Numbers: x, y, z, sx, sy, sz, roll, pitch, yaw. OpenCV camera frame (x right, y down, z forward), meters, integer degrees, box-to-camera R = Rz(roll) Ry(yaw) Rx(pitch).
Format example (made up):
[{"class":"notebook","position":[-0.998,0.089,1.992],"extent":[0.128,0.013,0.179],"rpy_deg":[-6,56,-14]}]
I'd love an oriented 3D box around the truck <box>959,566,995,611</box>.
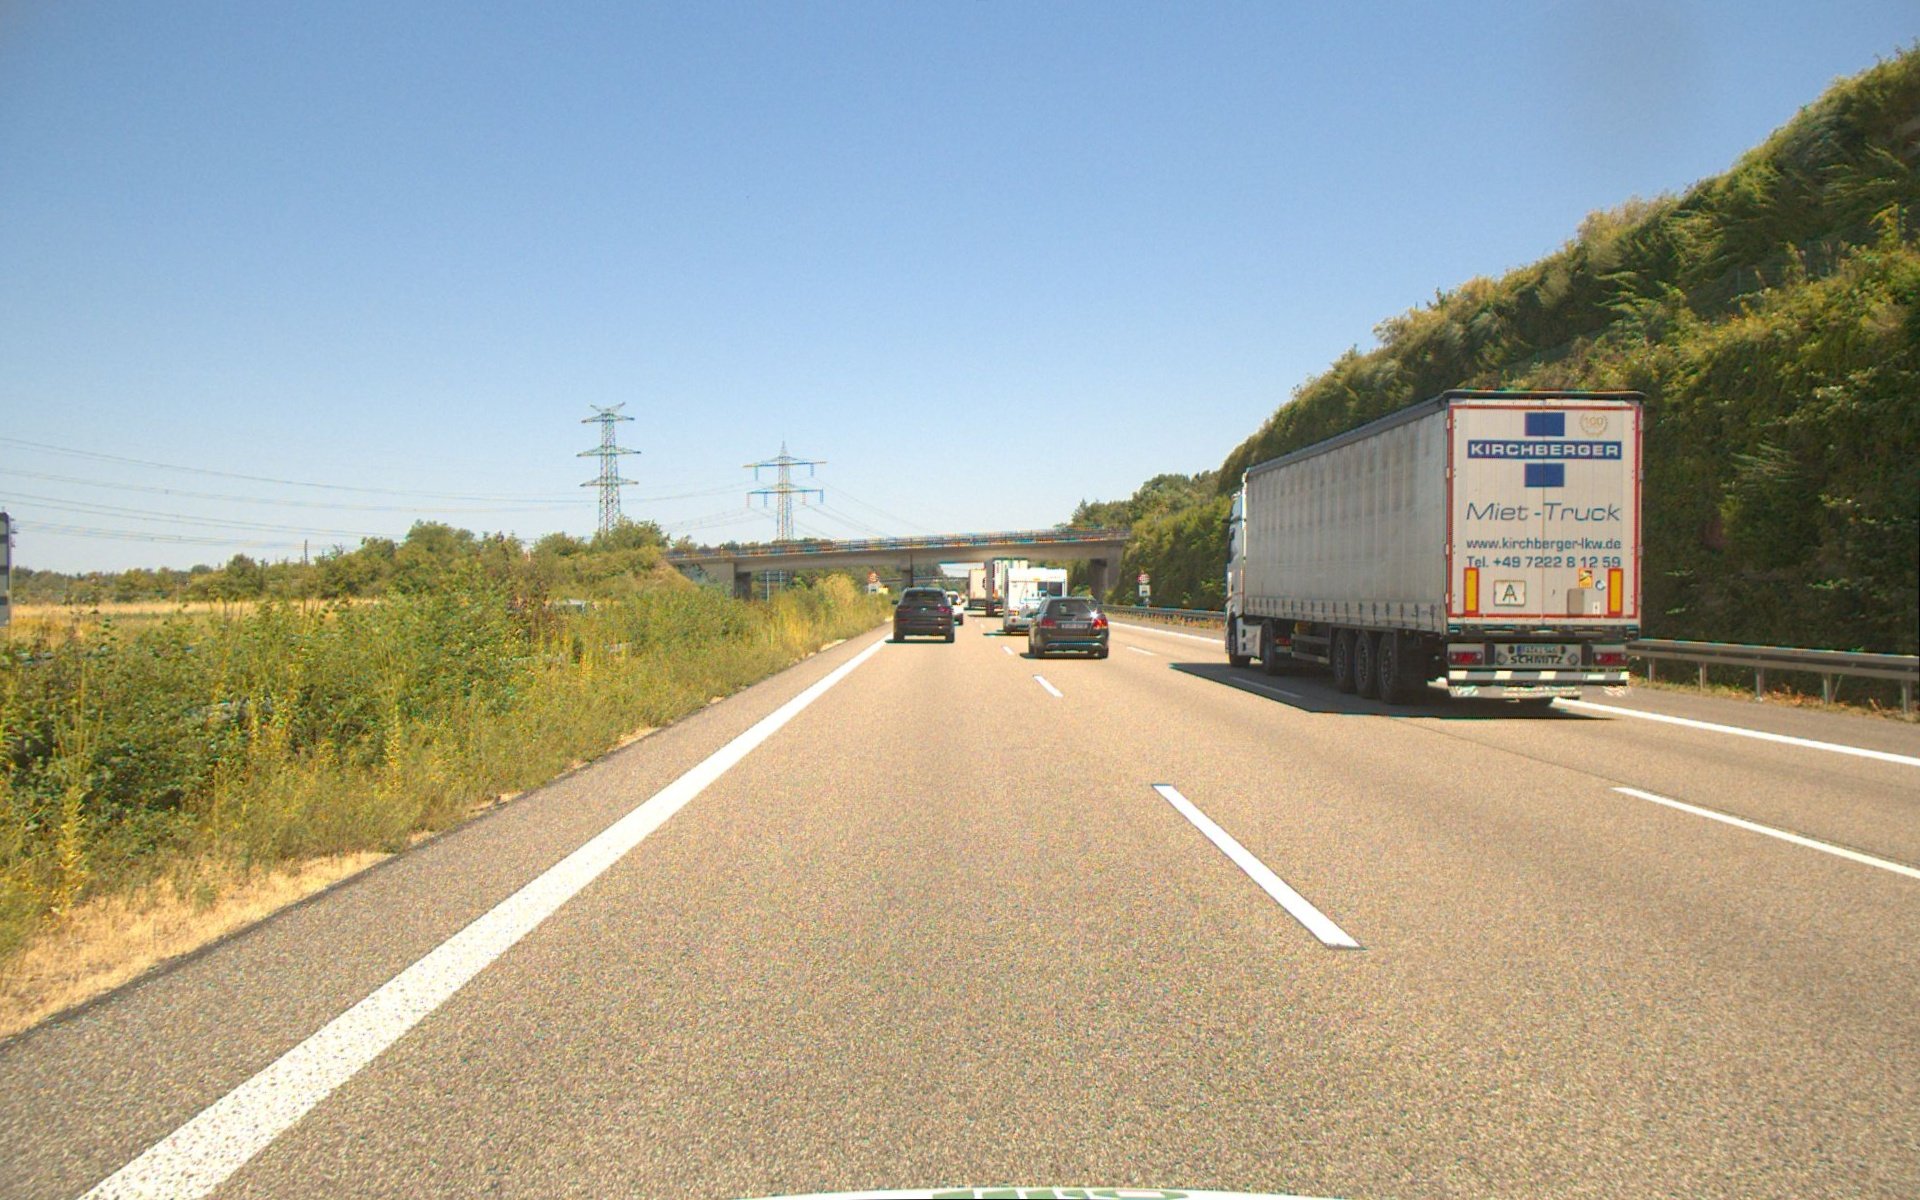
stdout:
[{"class":"truck","position":[1.670,-1.169,168.901],"extent":[3.340,4.355,10.605],"rpy_deg":[-1,0,-1]}]

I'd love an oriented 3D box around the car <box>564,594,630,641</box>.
[{"class":"car","position":[-13.778,0.642,62.934],"extent":[1.579,1.680,3.922],"rpy_deg":[-1,0,1]}]

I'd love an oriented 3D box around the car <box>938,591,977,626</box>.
[{"class":"car","position":[-0.169,0.401,84.516],"extent":[1.793,1.700,3.998],"rpy_deg":[-1,0,-3]}]

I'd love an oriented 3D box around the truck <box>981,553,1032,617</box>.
[{"class":"truck","position":[3.257,-1.068,119.252],"extent":[3.056,4.355,11.931],"rpy_deg":[-1,0,-1]}]

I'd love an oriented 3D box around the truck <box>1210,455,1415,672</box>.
[{"class":"truck","position":[7.365,-0.738,35.300],"extent":[3.072,4.214,5.502],"rpy_deg":[-1,0,-1]}]

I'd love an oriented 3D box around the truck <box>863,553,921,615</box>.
[{"class":"truck","position":[-4.756,-1.137,117.654],"extent":[3.881,4.185,9.949],"rpy_deg":[-1,0,-2]}]

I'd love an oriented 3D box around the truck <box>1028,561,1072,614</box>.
[{"class":"truck","position":[7.701,-1.049,143.398],"extent":[3.056,4.355,10.165],"rpy_deg":[-1,0,-1]}]

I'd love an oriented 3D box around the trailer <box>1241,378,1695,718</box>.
[{"class":"trailer","position":[7.481,-0.685,27.336],"extent":[3.118,4.193,13.428],"rpy_deg":[-1,0,-1]}]

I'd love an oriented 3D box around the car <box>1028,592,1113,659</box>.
[{"class":"car","position":[2.698,0.589,41.177],"extent":[1.792,1.552,4.000],"rpy_deg":[-1,0,0]}]

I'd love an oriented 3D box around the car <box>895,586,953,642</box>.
[{"class":"car","position":[-1.168,0.435,53.384],"extent":[1.793,1.700,3.999],"rpy_deg":[-1,0,-2]}]

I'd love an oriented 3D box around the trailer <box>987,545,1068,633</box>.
[{"class":"trailer","position":[2.606,-0.440,66.932],"extent":[2.558,3.269,9.949],"rpy_deg":[-1,0,-2]}]
